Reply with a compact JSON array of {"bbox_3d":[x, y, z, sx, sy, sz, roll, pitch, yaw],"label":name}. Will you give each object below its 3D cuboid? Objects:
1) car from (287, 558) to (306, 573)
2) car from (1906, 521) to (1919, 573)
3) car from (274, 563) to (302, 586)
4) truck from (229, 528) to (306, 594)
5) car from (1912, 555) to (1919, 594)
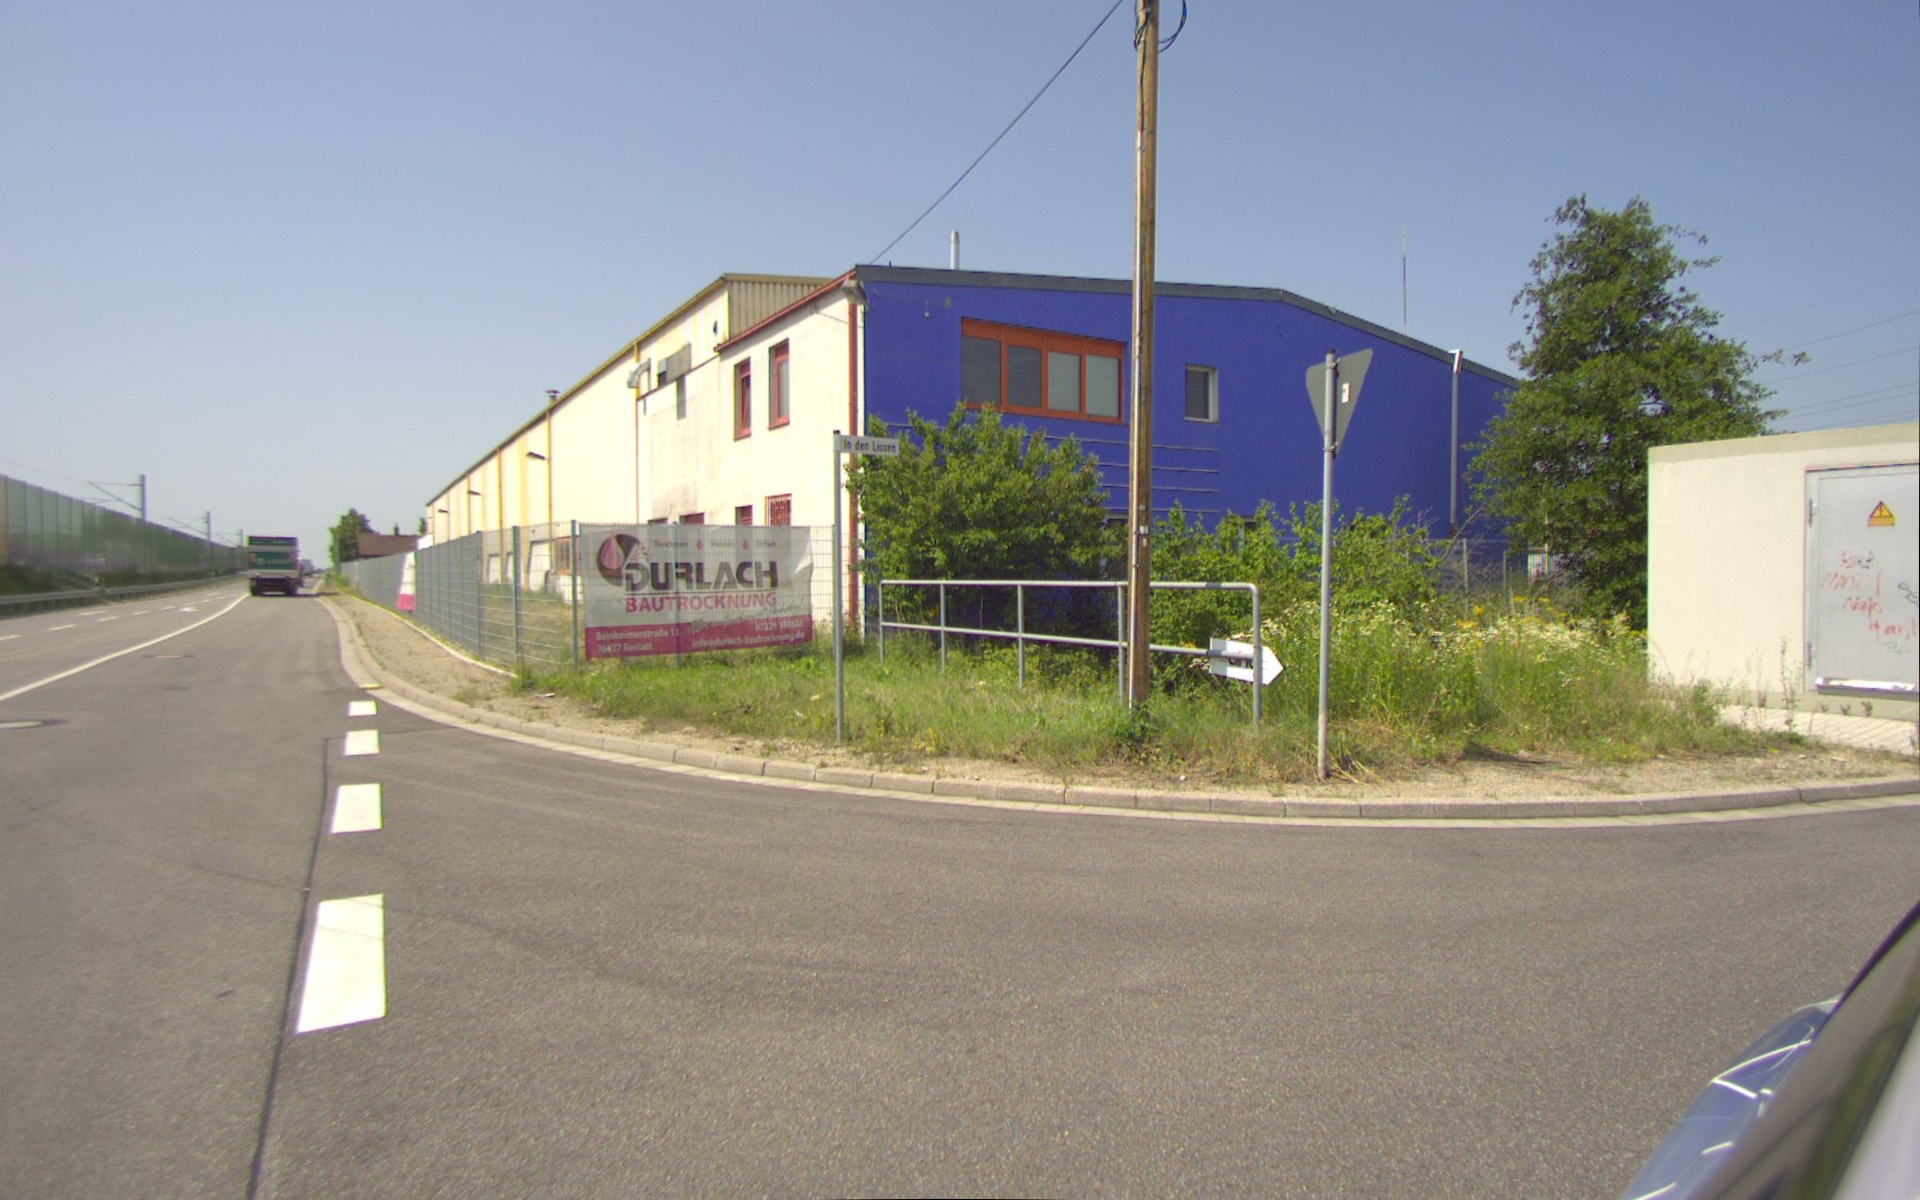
[{"bbox_3d":[-90.029,-4.658,137.311,1.961,2.039,4.003,-1,1,-32],"label":"car"},{"bbox_3d":[40.314,-2.132,39.635,4.631,2.039,1.972,0,1,40],"label":"car"},{"bbox_3d":[-61.005,-2.315,91.870,1.961,2.039,4.003,-1,1,-32],"label":"car"},{"bbox_3d":[-45.266,-2.414,66.515,3.496,3.926,11.423,-1,1,-31],"label":"truck"},{"bbox_3d":[38.453,-0.978,37.523,4.562,1.445,1.968,0,1,44],"label":"car"}]
